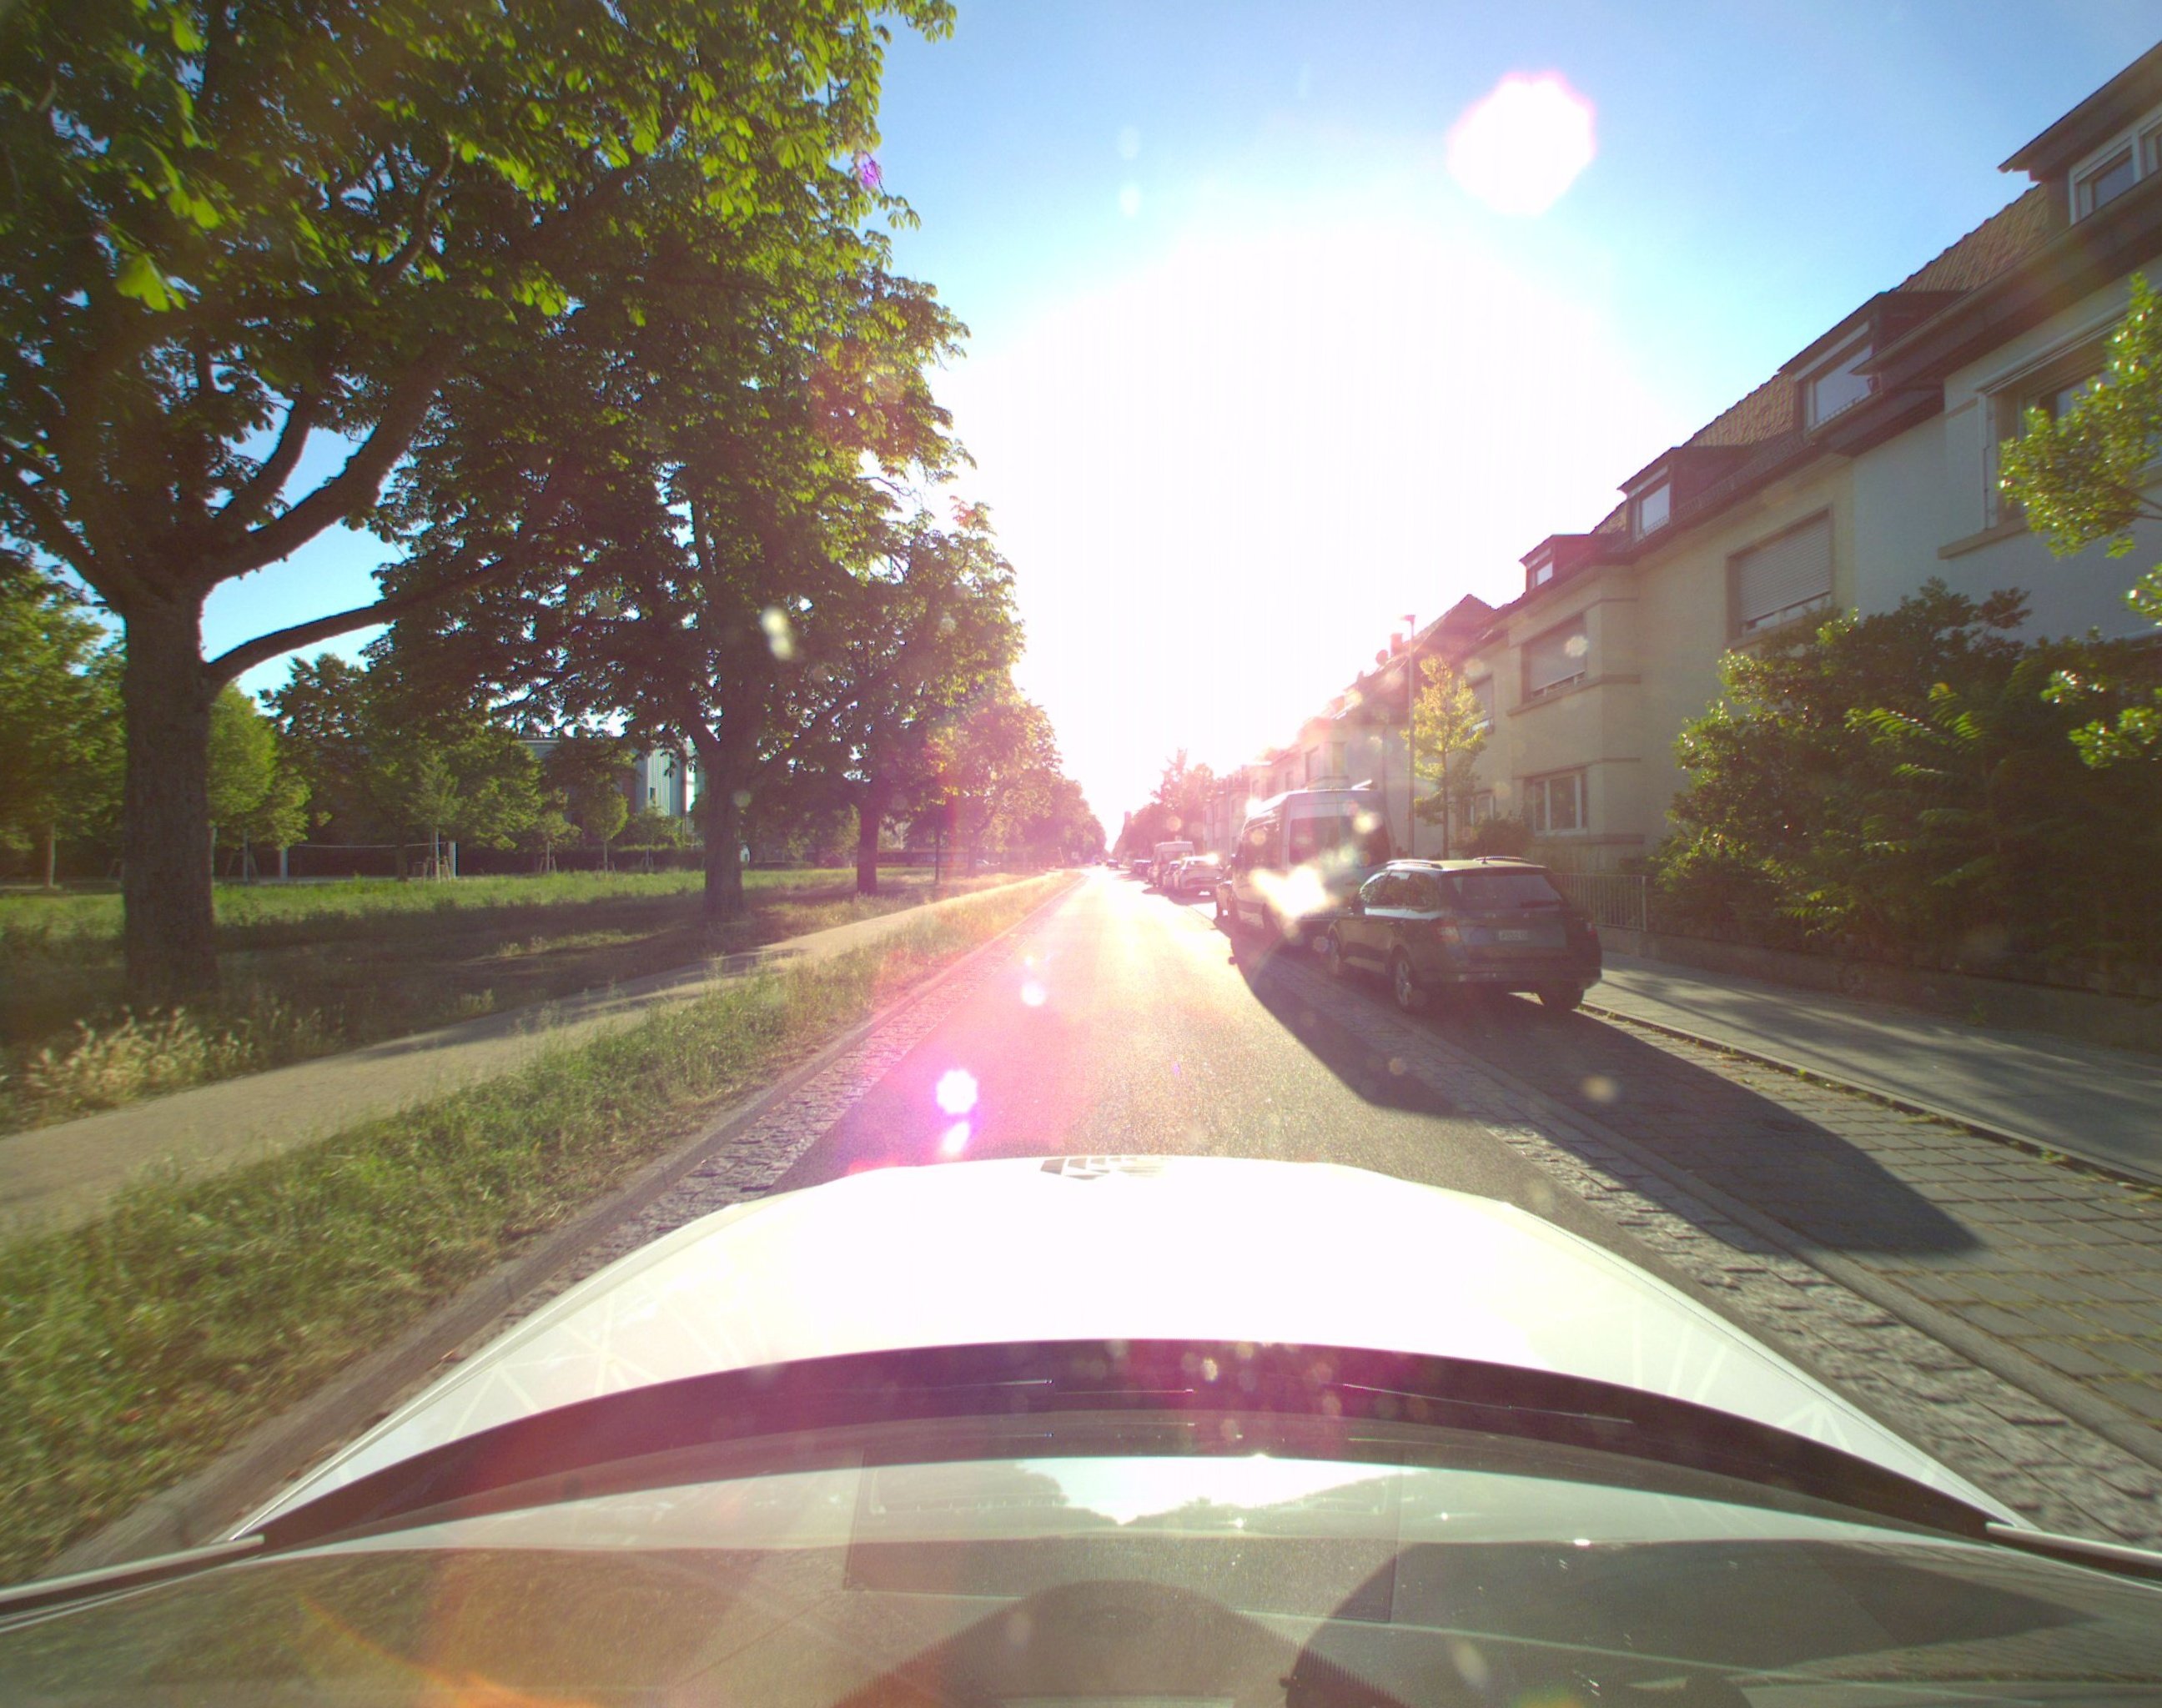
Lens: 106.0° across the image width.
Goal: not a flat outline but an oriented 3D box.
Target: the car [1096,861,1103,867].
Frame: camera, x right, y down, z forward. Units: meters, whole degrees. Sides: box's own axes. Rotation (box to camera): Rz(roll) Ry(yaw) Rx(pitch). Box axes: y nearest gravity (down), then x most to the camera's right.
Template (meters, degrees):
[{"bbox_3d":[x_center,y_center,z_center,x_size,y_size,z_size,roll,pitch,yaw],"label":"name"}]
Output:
[{"bbox_3d":[5.176,2.867,232.323,1.803,1.530,3.854,-1,0,3],"label":"car"}]

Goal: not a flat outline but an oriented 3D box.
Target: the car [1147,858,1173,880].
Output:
[{"bbox_3d":[5.621,1.053,58.390,1.643,1.530,3.854,-1,0,3],"label":"car"}]

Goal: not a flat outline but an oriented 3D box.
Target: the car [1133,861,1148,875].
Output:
[{"bbox_3d":[6.849,1.574,94.265,1.643,1.530,3.854,-1,0,3],"label":"car"}]

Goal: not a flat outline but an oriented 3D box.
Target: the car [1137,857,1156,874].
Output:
[{"bbox_3d":[6.210,1.111,77.434,1.643,1.530,3.854,-1,0,3],"label":"car"}]

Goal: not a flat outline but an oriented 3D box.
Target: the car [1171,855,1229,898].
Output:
[{"bbox_3d":[4.930,0.888,34.219,1.831,1.636,4.131,-1,0,0],"label":"car"}]

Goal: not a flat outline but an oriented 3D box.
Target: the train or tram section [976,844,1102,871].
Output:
[{"bbox_3d":[-6.627,0.628,128.990,19.754,3.956,3.636,1,-1,-6],"label":"train or tram section"}]

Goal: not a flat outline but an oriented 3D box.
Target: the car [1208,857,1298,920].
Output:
[{"bbox_3d":[4.436,0.855,21.510,1.615,1.411,3.970,-4,-1,2],"label":"car"}]

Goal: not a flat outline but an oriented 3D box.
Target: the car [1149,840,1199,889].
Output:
[{"bbox_3d":[5.136,0.580,45.670,2.119,2.533,5.188,-1,0,0],"label":"car"}]

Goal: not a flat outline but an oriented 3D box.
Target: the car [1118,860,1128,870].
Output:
[{"bbox_3d":[6.882,1.806,133.255,1.643,1.530,3.854,-1,0,3],"label":"car"}]

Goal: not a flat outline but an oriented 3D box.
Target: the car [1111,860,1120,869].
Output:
[{"bbox_3d":[6.414,1.991,151.732,1.643,1.530,3.854,-1,0,3],"label":"car"}]

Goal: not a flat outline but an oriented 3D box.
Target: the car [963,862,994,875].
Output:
[{"bbox_3d":[-15.003,2.138,119.172,4.341,1.764,1.995,1,-1,-7],"label":"car"}]

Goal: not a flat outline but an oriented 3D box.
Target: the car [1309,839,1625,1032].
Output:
[{"bbox_3d":[3.905,0.722,9.083,1.657,1.593,4.088,-3,-1,2],"label":"car"}]

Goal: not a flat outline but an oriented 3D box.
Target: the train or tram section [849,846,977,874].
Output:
[{"bbox_3d":[-25.967,1.006,126.991,19.045,3.956,3.636,1,-1,-6],"label":"train or tram section"}]

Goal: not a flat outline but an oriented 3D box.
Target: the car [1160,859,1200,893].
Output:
[{"bbox_3d":[4.754,1.013,39.628,1.643,1.530,3.854,-1,0,3],"label":"car"}]

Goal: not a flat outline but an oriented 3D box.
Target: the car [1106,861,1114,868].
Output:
[{"bbox_3d":[6.605,2.455,185.520,1.643,1.530,3.854,-1,0,3],"label":"car"}]

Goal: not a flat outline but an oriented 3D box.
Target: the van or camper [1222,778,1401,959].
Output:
[{"bbox_3d":[4.079,0.275,15.556,1.936,2.778,5.942,1,-1,2],"label":"van or camper"}]
